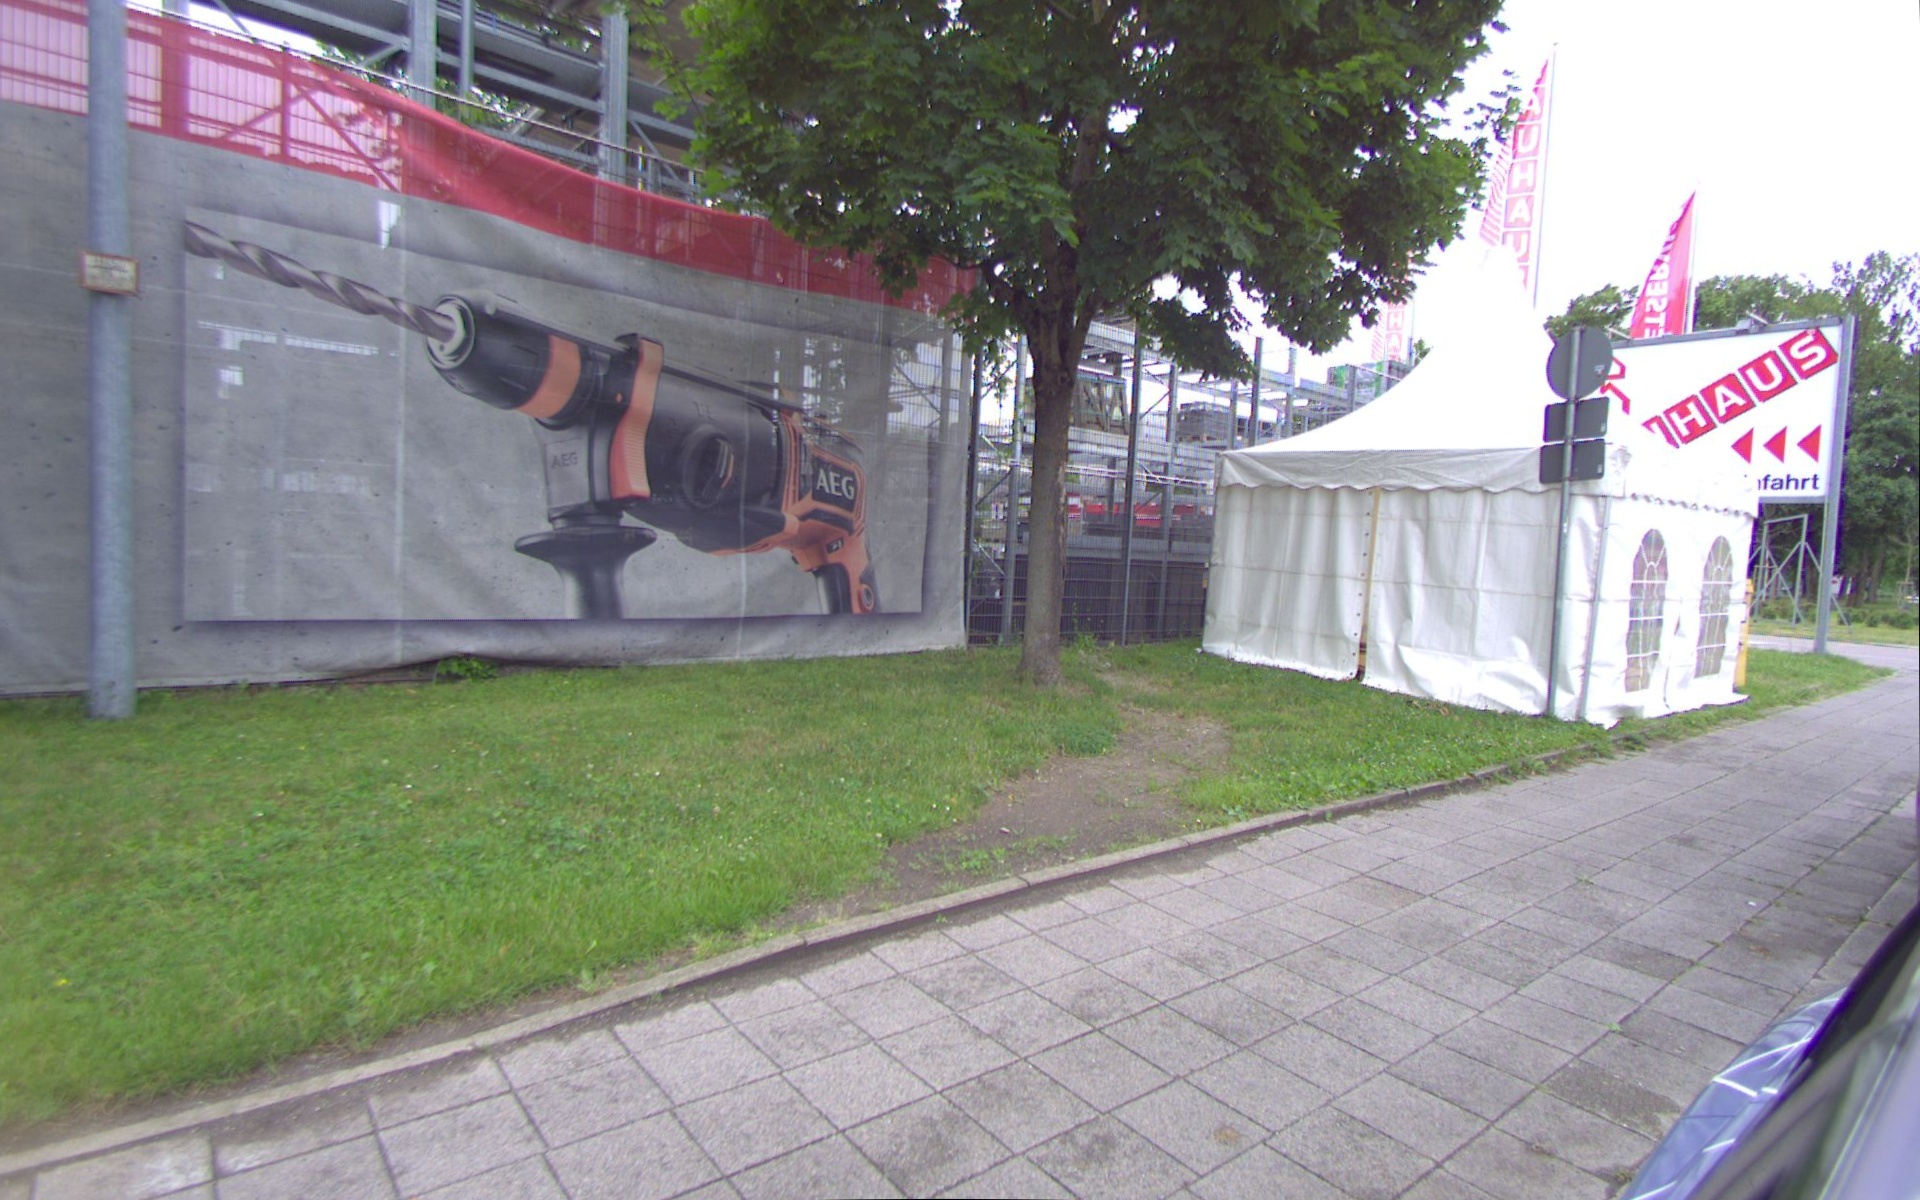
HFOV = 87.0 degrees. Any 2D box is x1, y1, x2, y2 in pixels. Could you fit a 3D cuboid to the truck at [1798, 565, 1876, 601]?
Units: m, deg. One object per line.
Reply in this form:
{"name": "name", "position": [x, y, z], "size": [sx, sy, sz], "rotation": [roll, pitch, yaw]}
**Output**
{"name": "truck", "position": [66.501, -1.292, 76.760], "size": [3.925, 2.425, 2.001], "rotation": [3, 3, 1]}

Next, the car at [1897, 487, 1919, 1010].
{"name": "car", "position": [5.506, 0.516, 4.079], "size": [4.399, 1.762, 1.913], "rotation": [0, 1, -39]}
